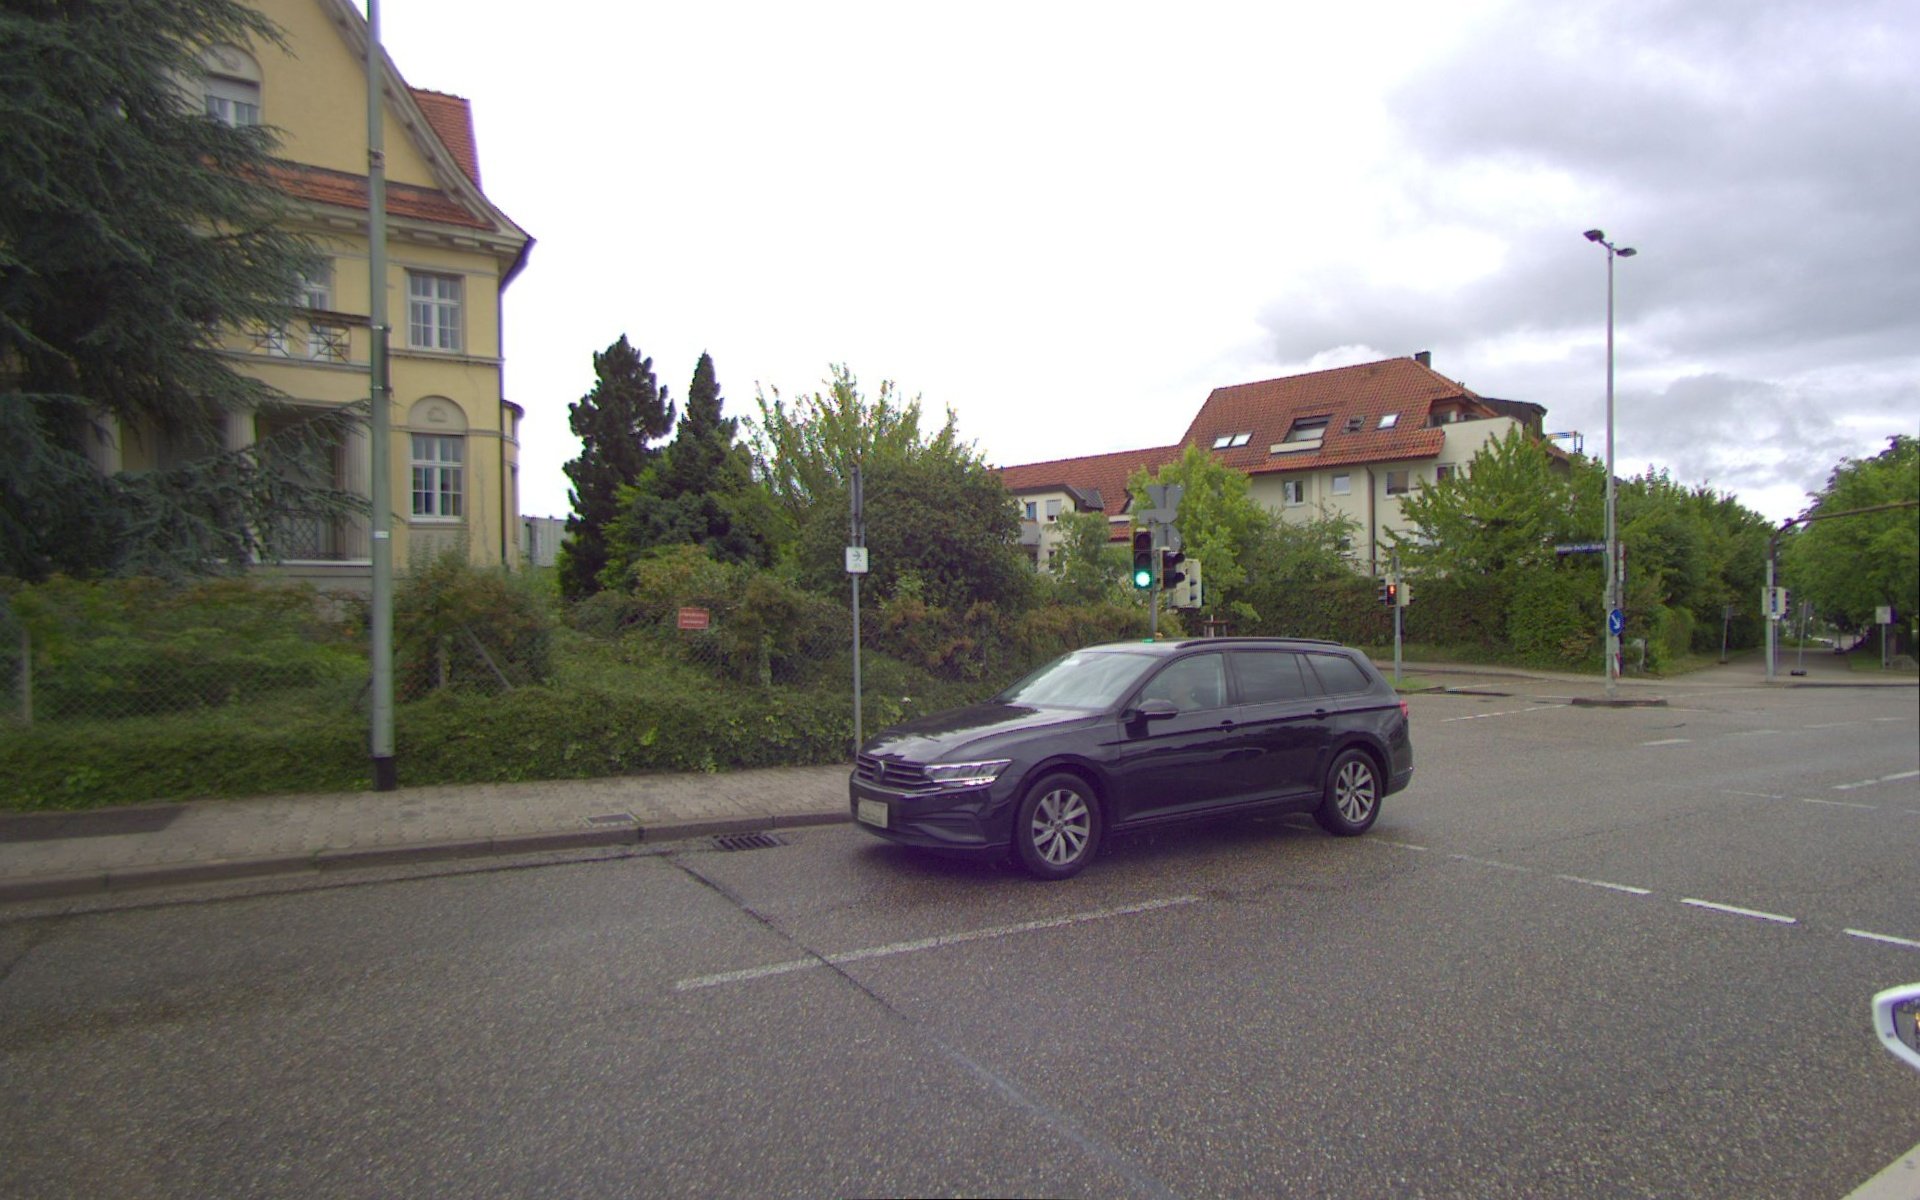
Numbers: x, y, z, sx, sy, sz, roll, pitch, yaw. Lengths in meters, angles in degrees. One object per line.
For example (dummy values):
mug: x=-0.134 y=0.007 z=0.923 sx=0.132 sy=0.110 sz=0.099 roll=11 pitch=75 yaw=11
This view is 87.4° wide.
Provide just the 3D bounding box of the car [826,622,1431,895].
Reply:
car: x=1.377 y=0.973 z=7.546 sx=4.421 sy=1.521 sz=1.767 roll=2 pitch=-3 yaw=-31

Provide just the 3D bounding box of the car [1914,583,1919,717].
car: x=21.346 y=0.984 z=19.795 sx=5.708 sy=2.561 sz=2.285 roll=1 pitch=-2 yaw=-32
